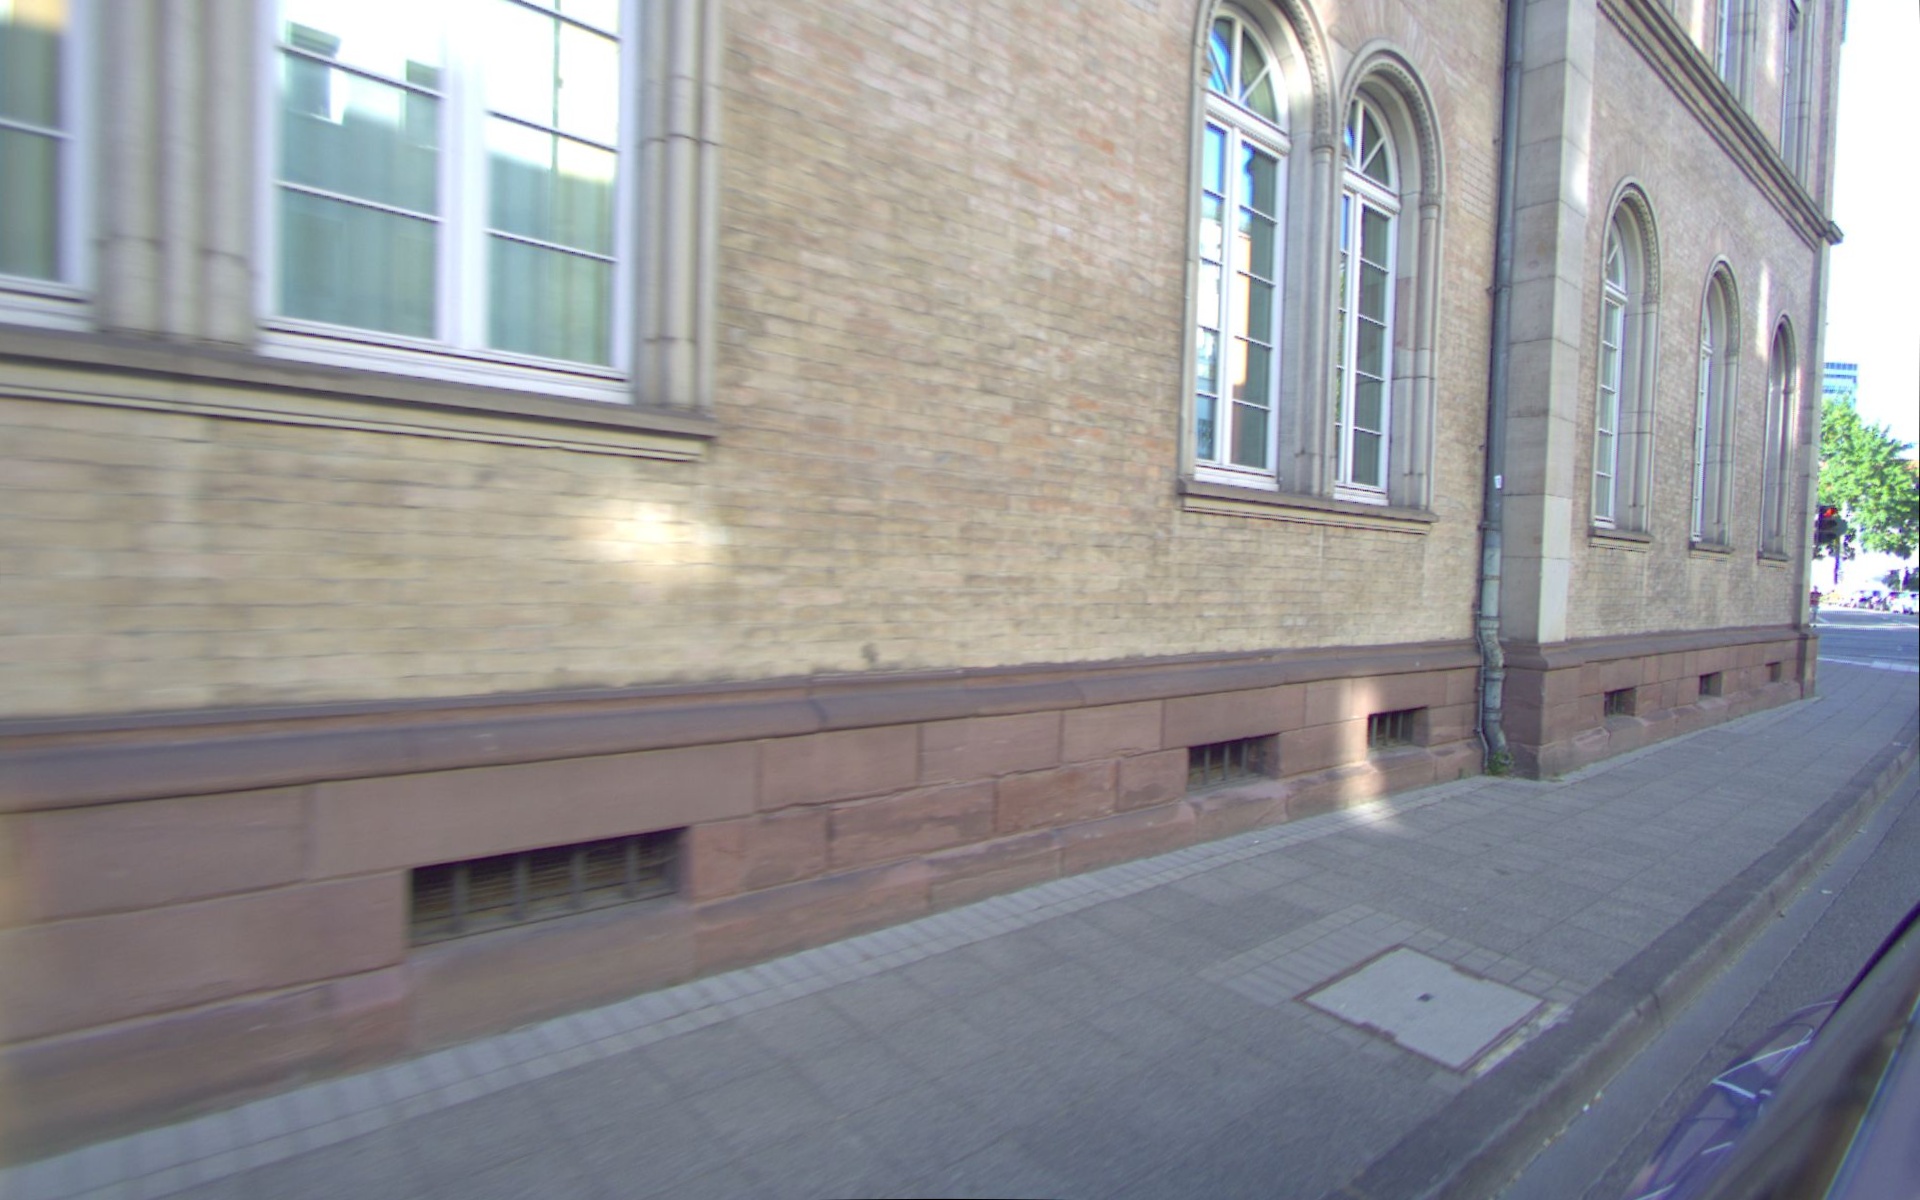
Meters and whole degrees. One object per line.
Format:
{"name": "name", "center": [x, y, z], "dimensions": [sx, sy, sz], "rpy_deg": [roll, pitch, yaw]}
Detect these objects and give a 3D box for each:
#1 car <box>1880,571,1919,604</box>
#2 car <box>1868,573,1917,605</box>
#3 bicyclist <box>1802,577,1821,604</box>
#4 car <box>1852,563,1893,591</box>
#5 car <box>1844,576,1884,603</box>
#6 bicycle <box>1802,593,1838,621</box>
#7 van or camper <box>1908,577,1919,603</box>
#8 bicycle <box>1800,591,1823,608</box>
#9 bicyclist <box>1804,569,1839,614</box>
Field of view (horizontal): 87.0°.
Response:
{"name": "car", "center": [60.633, -0.790, 64.906], "dimensions": [1.990, 2.038, 3.946], "rpy_deg": [3, 2, 37]}
{"name": "car", "center": [63.264, -0.759, 68.728], "dimensions": [1.990, 2.038, 3.946], "rpy_deg": [3, 2, 37]}
{"name": "bicyclist", "center": [52.107, -0.566, 61.938], "dimensions": [0.757, 1.612, 0.890], "rpy_deg": [3, 2, 35]}
{"name": "car", "center": [70.352, -1.776, 78.079], "dimensions": [1.990, 2.038, 3.946], "rpy_deg": [3, 2, 37]}
{"name": "car", "center": [72.916, -0.862, 81.675], "dimensions": [1.990, 2.039, 3.945], "rpy_deg": [3, 1, 37]}
{"name": "bicycle", "center": [35.762, 0.269, 42.093], "dimensions": [0.937, 1.051, 2.965], "rpy_deg": [3, 2, 37]}
{"name": "van or camper", "center": [80.864, -0.721, 82.582], "dimensions": [4.691, 2.112, 1.980], "rpy_deg": [3, 2, 29]}
{"name": "bicycle", "center": [52.074, -0.027, 61.905], "dimensions": [0.757, 0.961, 3.019], "rpy_deg": [3, 2, 35]}
{"name": "bicyclist", "center": [35.693, -0.369, 41.934], "dimensions": [0.973, 1.830, 1.116], "rpy_deg": [3, 2, 39]}
